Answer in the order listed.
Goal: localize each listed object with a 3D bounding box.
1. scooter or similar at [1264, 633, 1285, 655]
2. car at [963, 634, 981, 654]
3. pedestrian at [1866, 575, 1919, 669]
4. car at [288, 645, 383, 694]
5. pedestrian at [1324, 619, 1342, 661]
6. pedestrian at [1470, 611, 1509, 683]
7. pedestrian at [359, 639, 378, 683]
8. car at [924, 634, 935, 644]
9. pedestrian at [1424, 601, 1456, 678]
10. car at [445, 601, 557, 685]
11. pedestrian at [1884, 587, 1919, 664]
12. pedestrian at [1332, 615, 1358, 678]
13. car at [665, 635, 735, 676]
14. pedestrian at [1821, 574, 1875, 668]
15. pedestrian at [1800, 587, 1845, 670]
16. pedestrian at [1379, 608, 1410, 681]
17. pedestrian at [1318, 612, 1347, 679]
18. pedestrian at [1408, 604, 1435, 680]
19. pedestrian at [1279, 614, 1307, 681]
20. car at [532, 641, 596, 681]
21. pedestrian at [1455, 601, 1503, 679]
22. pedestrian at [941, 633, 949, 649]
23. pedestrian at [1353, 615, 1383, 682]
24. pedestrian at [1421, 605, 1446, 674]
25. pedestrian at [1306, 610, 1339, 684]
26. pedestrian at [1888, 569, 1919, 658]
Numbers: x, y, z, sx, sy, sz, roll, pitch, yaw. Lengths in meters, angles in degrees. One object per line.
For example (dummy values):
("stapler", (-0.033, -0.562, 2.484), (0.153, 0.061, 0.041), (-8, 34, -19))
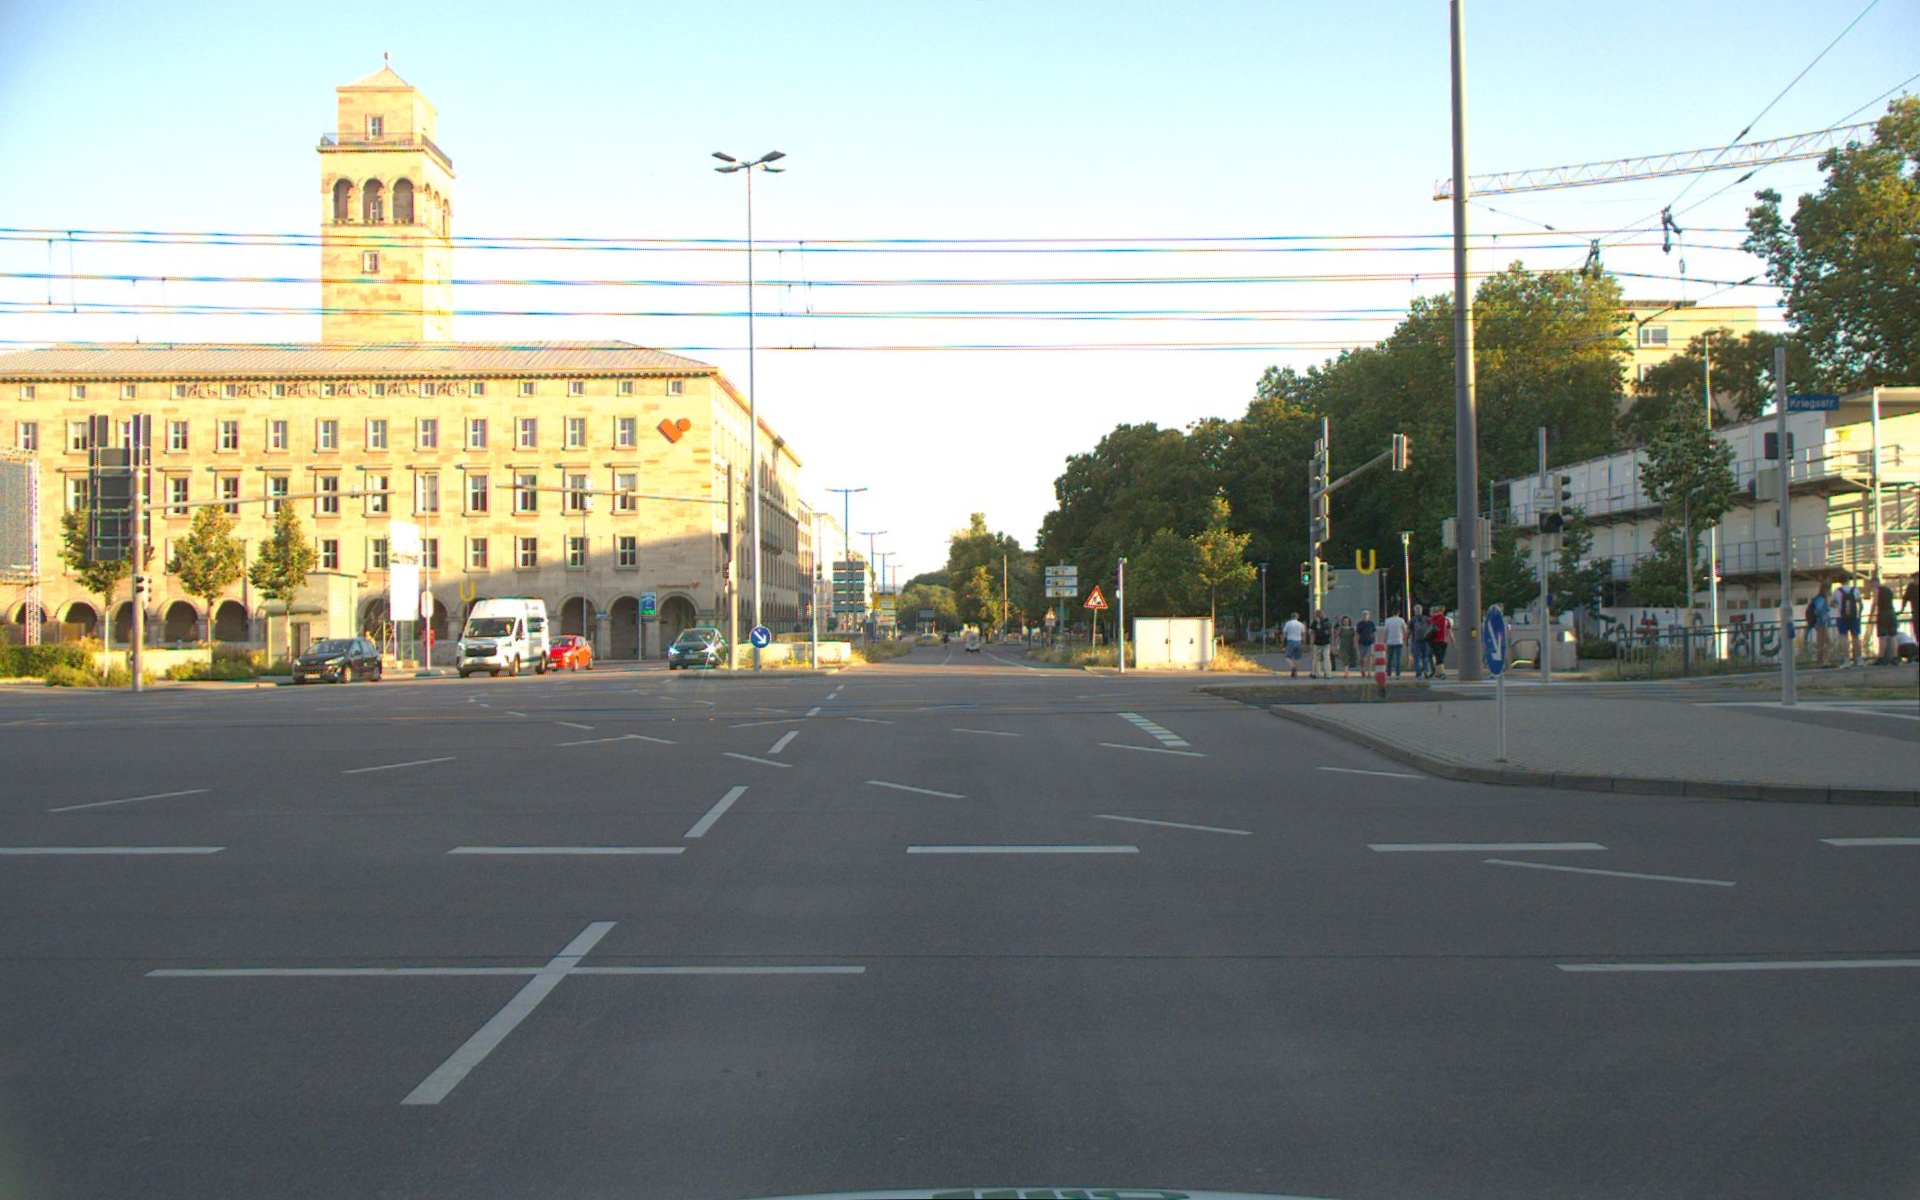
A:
("scooter or similar", (17.958, 2.502, 94.477), (0.558, 1.224, 2.982), (-1, -1, -2))
("car", (1.045, 3.891, 146.814), (1.453, 1.726, 2.973), (-1, -1, -2))
("pedestrian", (17.614, 0.415, 31.265), (0.696, 1.755, 0.669), (-1, -1, 16))
("car", (-21.148, 2.320, 56.158), (1.786, 1.492, 4.156), (-1, -1, -2))
("pedestrian", (16.843, 1.808, 74.750), (0.652, 1.875, 0.713), (-1, -1, 4))
("pedestrian", (13.532, 1.191, 42.277), (0.788, 1.823, 0.801), (-1, -1, 7))
("pedestrian", (-24.137, 2.504, 67.504), (0.609, 1.774, 0.459), (1, -2, -6))
("car", (-4.153, 5.273, 222.247), (1.341, 1.256, 3.045), (-1, -1, 1))
("pedestrian", (11.229, 0.923, 38.696), (0.688, 1.765, 0.848), (-1, -1, 15))
("car", (-16.354, 1.512, 59.302), (2.232, 2.825, 6.083), (-1, -1, 1))
("pedestrian", (18.245, 0.495, 31.845), (0.662, 1.466, 0.714), (-1, -1, 21))
("pedestrian", (10.474, 1.255, 44.983), (0.548, 1.684, 0.902), (-1, -1, 20))
("car", (-9.346, 1.970, 59.763), (1.785, 1.365, 4.000), (-1, -1, 1))
("pedestrian", (16.838, 0.394, 31.371), (0.695, 1.755, 0.669), (-1, -1, 10))
("pedestrian", (16.893, 0.558, 32.391), (0.559, 1.620, 0.536), (-1, -1, -1))
("pedestrian", (10.702, 1.089, 40.777), (0.695, 1.755, 0.915), (-1, -1, 14))
("pedestrian", (9.869, 1.211, 43.800), (0.696, 1.755, 0.669), (-1, -1, 16))
("pedestrian", (11.125, 1.007, 39.886), (0.560, 1.823, 0.639), (-1, -1, 13))
("pedestrian", (8.854, 1.260, 43.940), (0.695, 1.755, 0.669), (-1, -1, 13))
("car", (-16.261, 2.478, 68.113), (1.703, 1.513, 3.999), (-1, -1, -1))
("pedestrian", (12.391, 0.946, 39.498), (0.790, 1.823, 0.798), (0, -1, -11))
("pedestrian", (-1.642, 4.516, 181.710), (0.888, 1.700, 1.306), (-1, -1, -2))
("pedestrian", (11.058, 1.310, 44.782), (0.665, 1.788, 0.902), (-1, -1, 20))
("pedestrian", (11.850, 0.986, 41.395), (0.560, 1.708, 0.639), (-1, -1, 13))
("pedestrian", (8.726, 1.125, 39.827), (0.695, 1.755, 0.916), (-1, -1, 10))
("pedestrian", (19.109, 0.265, 33.065), (0.697, 1.755, 0.668), (-1, -1, -3))
